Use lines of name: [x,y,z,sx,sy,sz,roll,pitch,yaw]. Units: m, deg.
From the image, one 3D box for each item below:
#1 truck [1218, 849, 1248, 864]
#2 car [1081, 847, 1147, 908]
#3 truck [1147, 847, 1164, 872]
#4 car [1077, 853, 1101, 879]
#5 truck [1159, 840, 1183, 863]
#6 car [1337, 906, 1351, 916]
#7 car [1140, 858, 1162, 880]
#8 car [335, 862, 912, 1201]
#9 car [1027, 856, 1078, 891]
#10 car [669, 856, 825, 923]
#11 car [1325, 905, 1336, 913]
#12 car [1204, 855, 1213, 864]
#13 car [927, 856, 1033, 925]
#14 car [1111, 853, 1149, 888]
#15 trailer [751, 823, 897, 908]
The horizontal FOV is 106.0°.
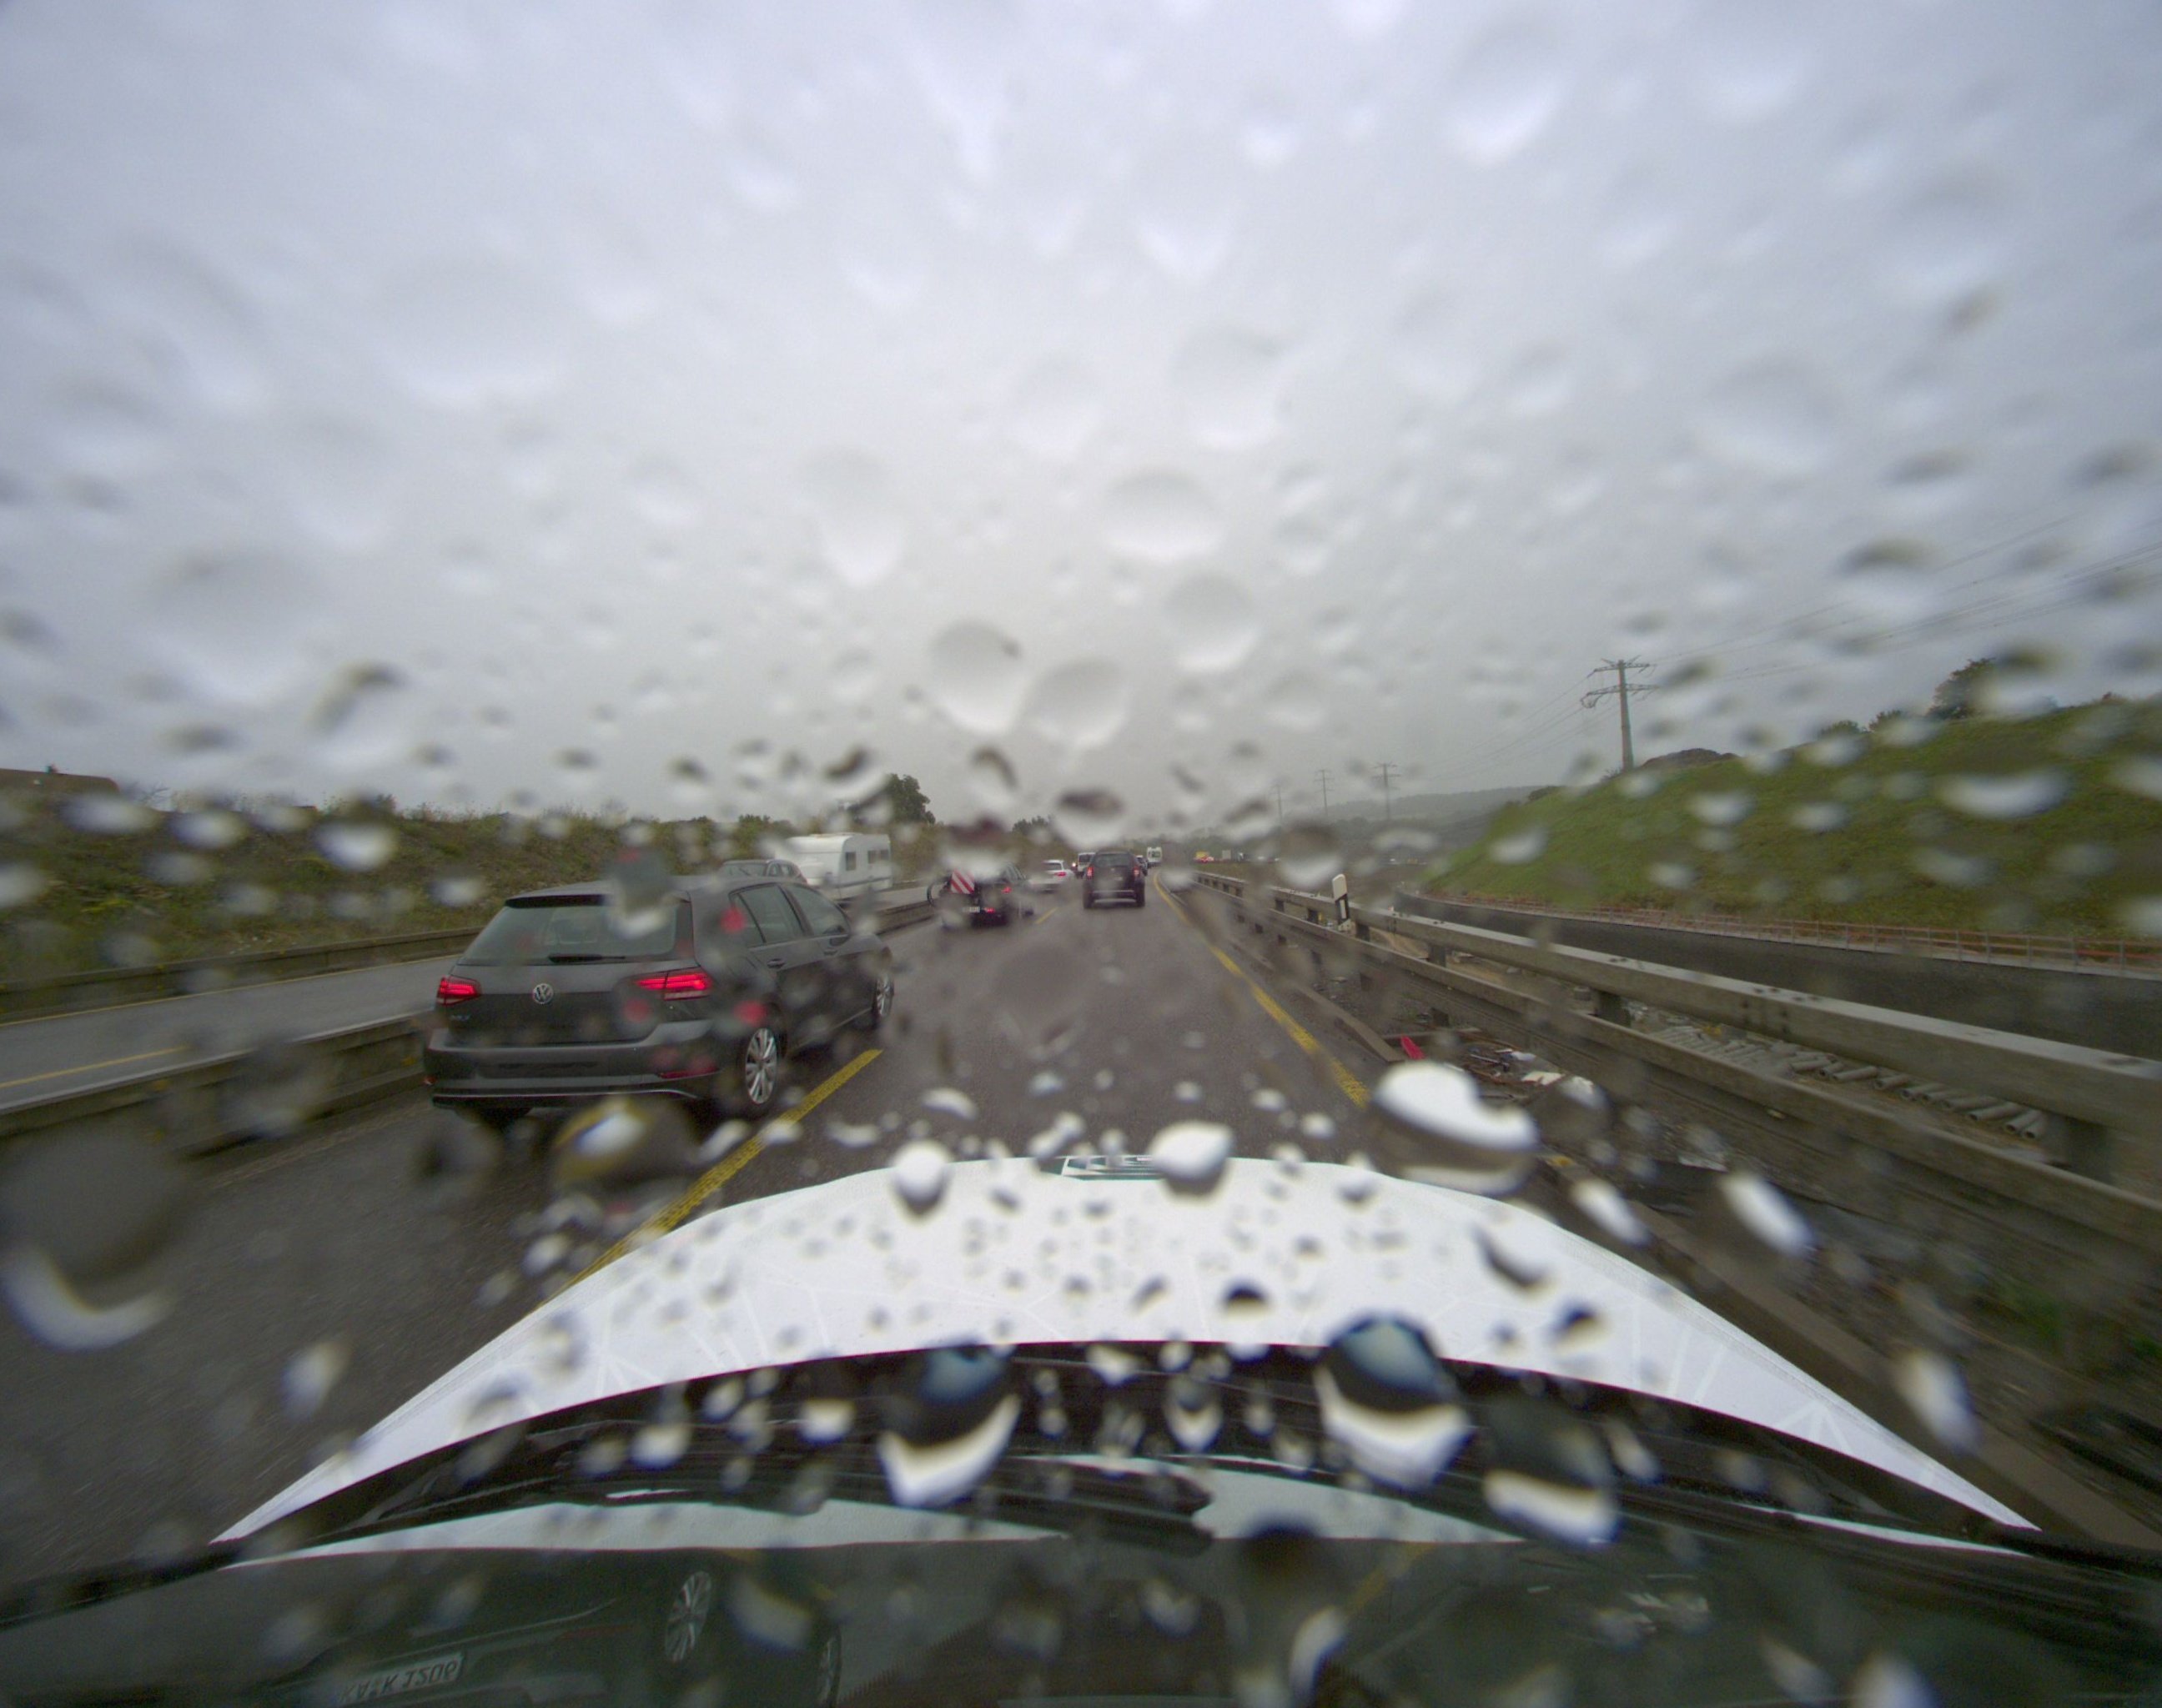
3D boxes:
truck: [44.467,0.708,237.345,4.674,4.150,15.772,-1,0,25]
car: [0.994,0.668,24.355,1.797,1.646,3.778,-1,-1,2]
truck: [9.892,0.713,108.321,2.140,3.166,6.466,0,0,4]
car: [0.625,0.853,59.557,1.654,1.880,4.022,0,0,2]
truck: [15.070,-0.365,135.534,3.179,3.761,8.536,0,0,12]
car: [58.645,12.785,181.642,2.351,2.014,4.010,0,0,9]
car: [5.374,1.115,62.611,1.524,1.640,4.015,0,0,3]
car: [-2.611,0.857,6.010,1.608,1.506,4.370,-3,-1,2]
car: [-1.213,0.843,36.421,1.859,1.460,4.552,0,0,3]
car: [-8.887,0.870,22.255,1.986,1.586,5.122,-1,0,2]
car: [60.707,13.394,198.175,1.980,1.816,4.012,-1,-1,11]
car: [28.339,1.149,181.165,1.763,1.916,4.014,0,0,12]
car: [-2.317,0.820,19.665,1.820,1.476,3.780,-1,-1,4]
car: [2.461,0.827,41.888,1.860,1.708,4.002,-1,0,2]
trailer: [-8.643,0.354,28.403,2.500,2.564,7.168,-1,0,3]
